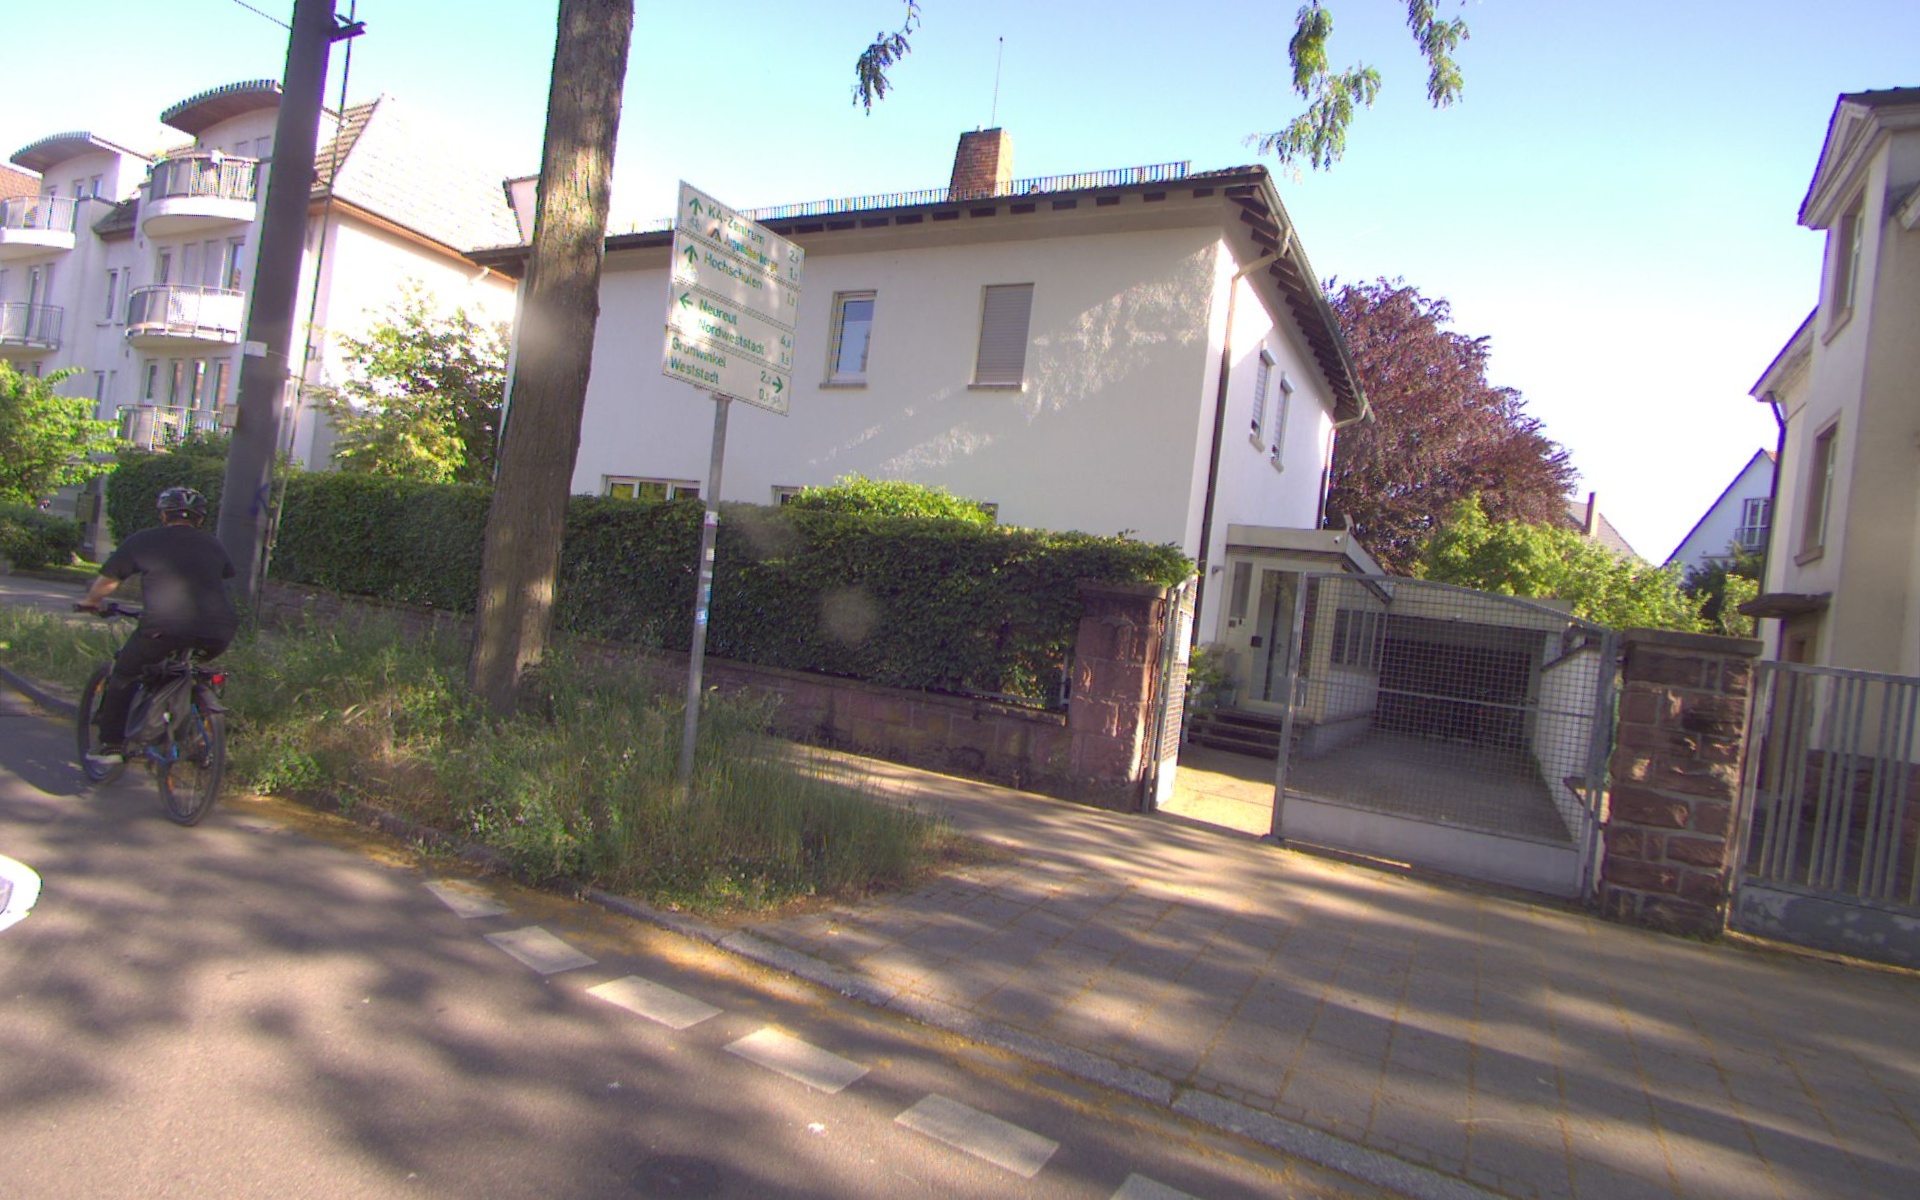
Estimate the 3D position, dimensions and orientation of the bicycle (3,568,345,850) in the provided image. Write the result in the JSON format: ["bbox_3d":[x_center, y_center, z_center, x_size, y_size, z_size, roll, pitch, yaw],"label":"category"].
[{"bbox_3d":[-4.393,0.534,5.566,2.062,1.167,0.830,6,-3,36],"label":"bicycle"}]

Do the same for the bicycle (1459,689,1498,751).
[{"bbox_3d":[10.466,2.414,20.280,0.512,1.135,1.465,7,-2,30],"label":"bicycle"}]

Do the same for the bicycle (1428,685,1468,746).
[{"bbox_3d":[9.990,2.362,20.577,0.512,1.135,1.465,7,-2,30],"label":"bicycle"}]

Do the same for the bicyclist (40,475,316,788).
[{"bbox_3d":[-4.257,0.161,5.488,0.920,1.519,0.822,6,-1,36],"label":"bicyclist"}]

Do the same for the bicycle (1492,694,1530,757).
[{"bbox_3d":[10.913,2.479,19.910,0.512,1.135,1.465,7,-2,30],"label":"bicycle"}]

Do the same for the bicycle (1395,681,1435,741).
[{"bbox_3d":[9.480,2.309,20.942,0.512,1.135,1.465,7,-2,30],"label":"bicycle"}]
